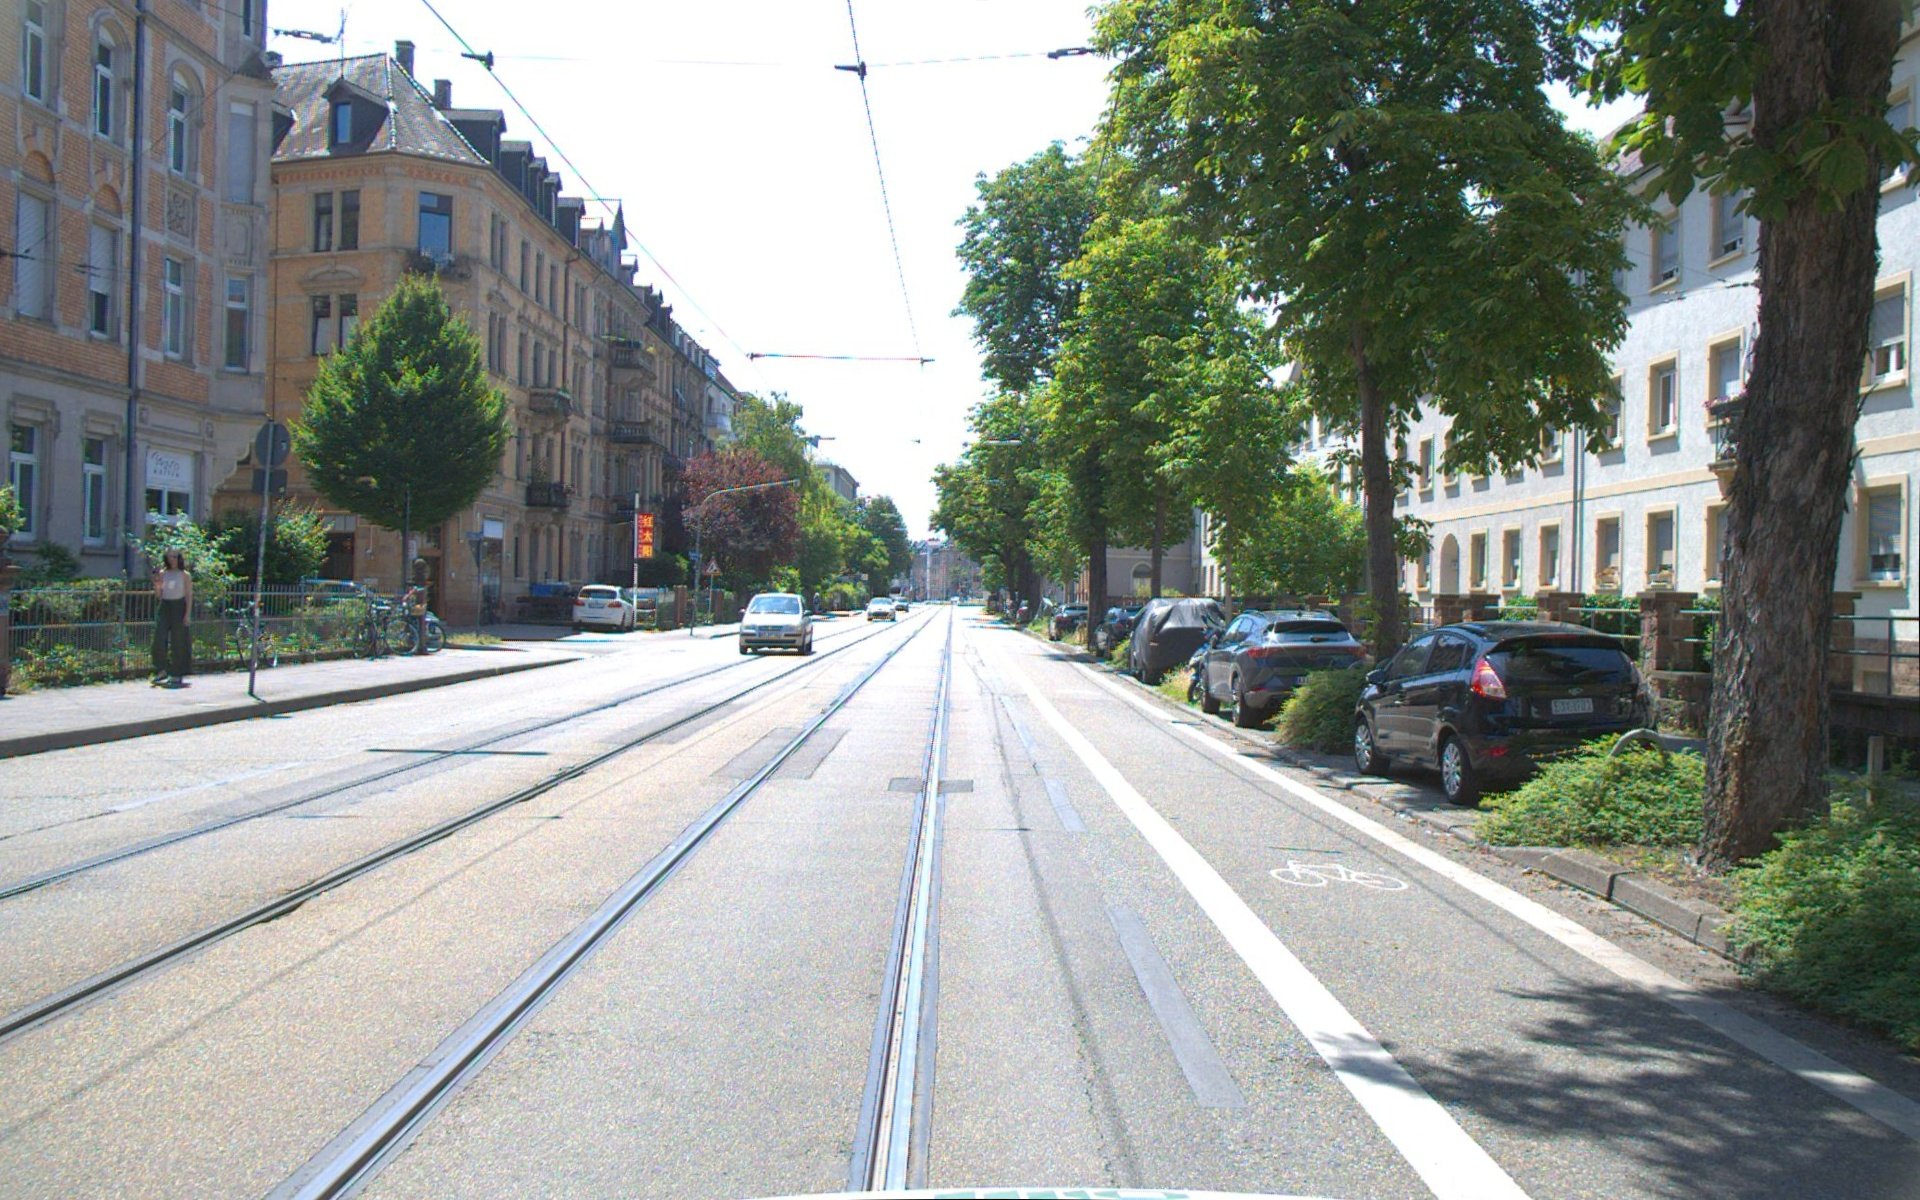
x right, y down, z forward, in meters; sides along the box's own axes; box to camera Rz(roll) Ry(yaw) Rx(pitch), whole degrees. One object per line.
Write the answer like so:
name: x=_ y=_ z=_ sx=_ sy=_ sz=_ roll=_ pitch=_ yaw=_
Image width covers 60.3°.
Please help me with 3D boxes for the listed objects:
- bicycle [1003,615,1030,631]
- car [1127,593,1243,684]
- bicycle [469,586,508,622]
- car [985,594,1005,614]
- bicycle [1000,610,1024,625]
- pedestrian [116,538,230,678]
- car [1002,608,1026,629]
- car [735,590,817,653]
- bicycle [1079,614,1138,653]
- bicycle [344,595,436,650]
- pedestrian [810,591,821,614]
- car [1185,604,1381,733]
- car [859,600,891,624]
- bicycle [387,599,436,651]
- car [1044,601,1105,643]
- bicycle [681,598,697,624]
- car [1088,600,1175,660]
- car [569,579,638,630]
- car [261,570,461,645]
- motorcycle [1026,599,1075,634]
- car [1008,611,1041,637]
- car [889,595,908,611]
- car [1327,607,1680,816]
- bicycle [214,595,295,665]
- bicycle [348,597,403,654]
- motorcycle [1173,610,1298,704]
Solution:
bicycle: x=3.911 y=1.586 z=114.547 sx=1.849 sy=1.070 sz=0.538 roll=2 pitch=-1 yaw=6
car: x=4.579 y=0.741 z=34.298 sx=1.907 sy=1.679 sz=4.881 roll=2 pitch=0 yaw=3
bicycle: x=-16.599 y=0.142 z=58.285 sx=0.625 sy=1.208 sz=2.145 roll=2 pitch=0 yaw=3
car: x=3.667 y=0.420 z=173.567 sx=1.952 sy=2.071 sz=4.696 roll=2 pitch=0 yaw=0
bicycle: x=4.046 y=1.394 z=128.855 sx=1.779 sy=1.133 sz=0.493 roll=1 pitch=-2 yaw=-1
pedestrian: x=-10.468 y=0.111 z=22.045 sx=0.834 sy=1.752 sz=1.138 roll=5 pitch=0 yaw=0
car: x=3.889 y=1.323 z=119.363 sx=1.589 sy=1.473 sz=3.809 roll=-1 pitch=-1 yaw=-1
car: x=-4.645 y=0.518 z=42.154 sx=1.650 sy=1.475 sz=3.999 roll=2 pitch=0 yaw=-1
bicycle: x=4.389 y=0.979 z=48.855 sx=1.621 sy=1.097 sz=0.605 roll=2 pitch=0 yaw=-8
bicycle: x=-11.803 y=0.470 z=34.262 sx=1.669 sy=1.055 sz=0.551 roll=2 pitch=0 yaw=4
pedestrian: x=-10.672 y=0.221 z=122.136 sx=0.736 sy=1.657 sz=0.832 roll=3 pitch=-1 yaw=-6
car: x=4.439 y=0.882 z=23.384 sx=1.698 sy=1.579 sz=4.451 roll=2 pitch=0 yaw=-2
car: x=-5.250 y=0.739 z=102.854 sx=1.720 sy=1.449 sz=4.000 roll=1 pitch=0 yaw=0
bicycle: x=-10.896 y=0.487 z=32.892 sx=0.430 sy=1.000 sz=1.710 roll=2 pitch=0 yaw=-2
car: x=4.363 y=0.812 z=63.527 sx=1.734 sy=1.451 sz=4.859 roll=2 pitch=0 yaw=-3
bicycle: x=-11.131 y=0.446 z=67.993 sx=0.445 sy=1.021 sz=1.805 roll=2 pitch=0 yaw=-4
car: x=4.532 y=0.763 z=44.284 sx=1.660 sy=1.443 sz=4.355 roll=2 pitch=0 yaw=-3
car: x=-12.641 y=0.152 z=58.922 sx=1.829 sy=1.628 sz=4.097 roll=3 pitch=0 yaw=-5
car: x=-13.084 y=0.180 z=36.268 sx=3.683 sy=1.453 sz=1.713 roll=2 pitch=-1 yaw=0
motorcycle: x=4.323 y=0.796 z=79.047 sx=2.280 sy=1.567 sz=0.864 roll=2 pitch=0 yaw=43
car: x=3.886 y=1.442 z=100.577 sx=1.738 sy=1.527 sz=4.304 roll=1 pitch=0 yaw=-1
car: x=-6.068 y=0.339 z=163.789 sx=1.652 sy=1.480 sz=3.748 roll=2 pitch=0 yaw=-1
car: x=4.649 y=0.876 z=14.786 sx=1.623 sy=1.541 sz=3.997 roll=2 pitch=0 yaw=-3
bicycle: x=-10.944 y=0.452 z=25.706 sx=0.487 sy=1.004 sz=1.710 roll=6 pitch=0 yaw=-2
bicycle: x=-10.895 y=0.463 z=30.851 sx=0.430 sy=1.000 sz=1.710 roll=2 pitch=0 yaw=-2
motorcycle: x=4.534 y=0.939 z=27.231 sx=1.878 sy=1.458 sz=0.670 roll=2 pitch=0 yaw=-10
